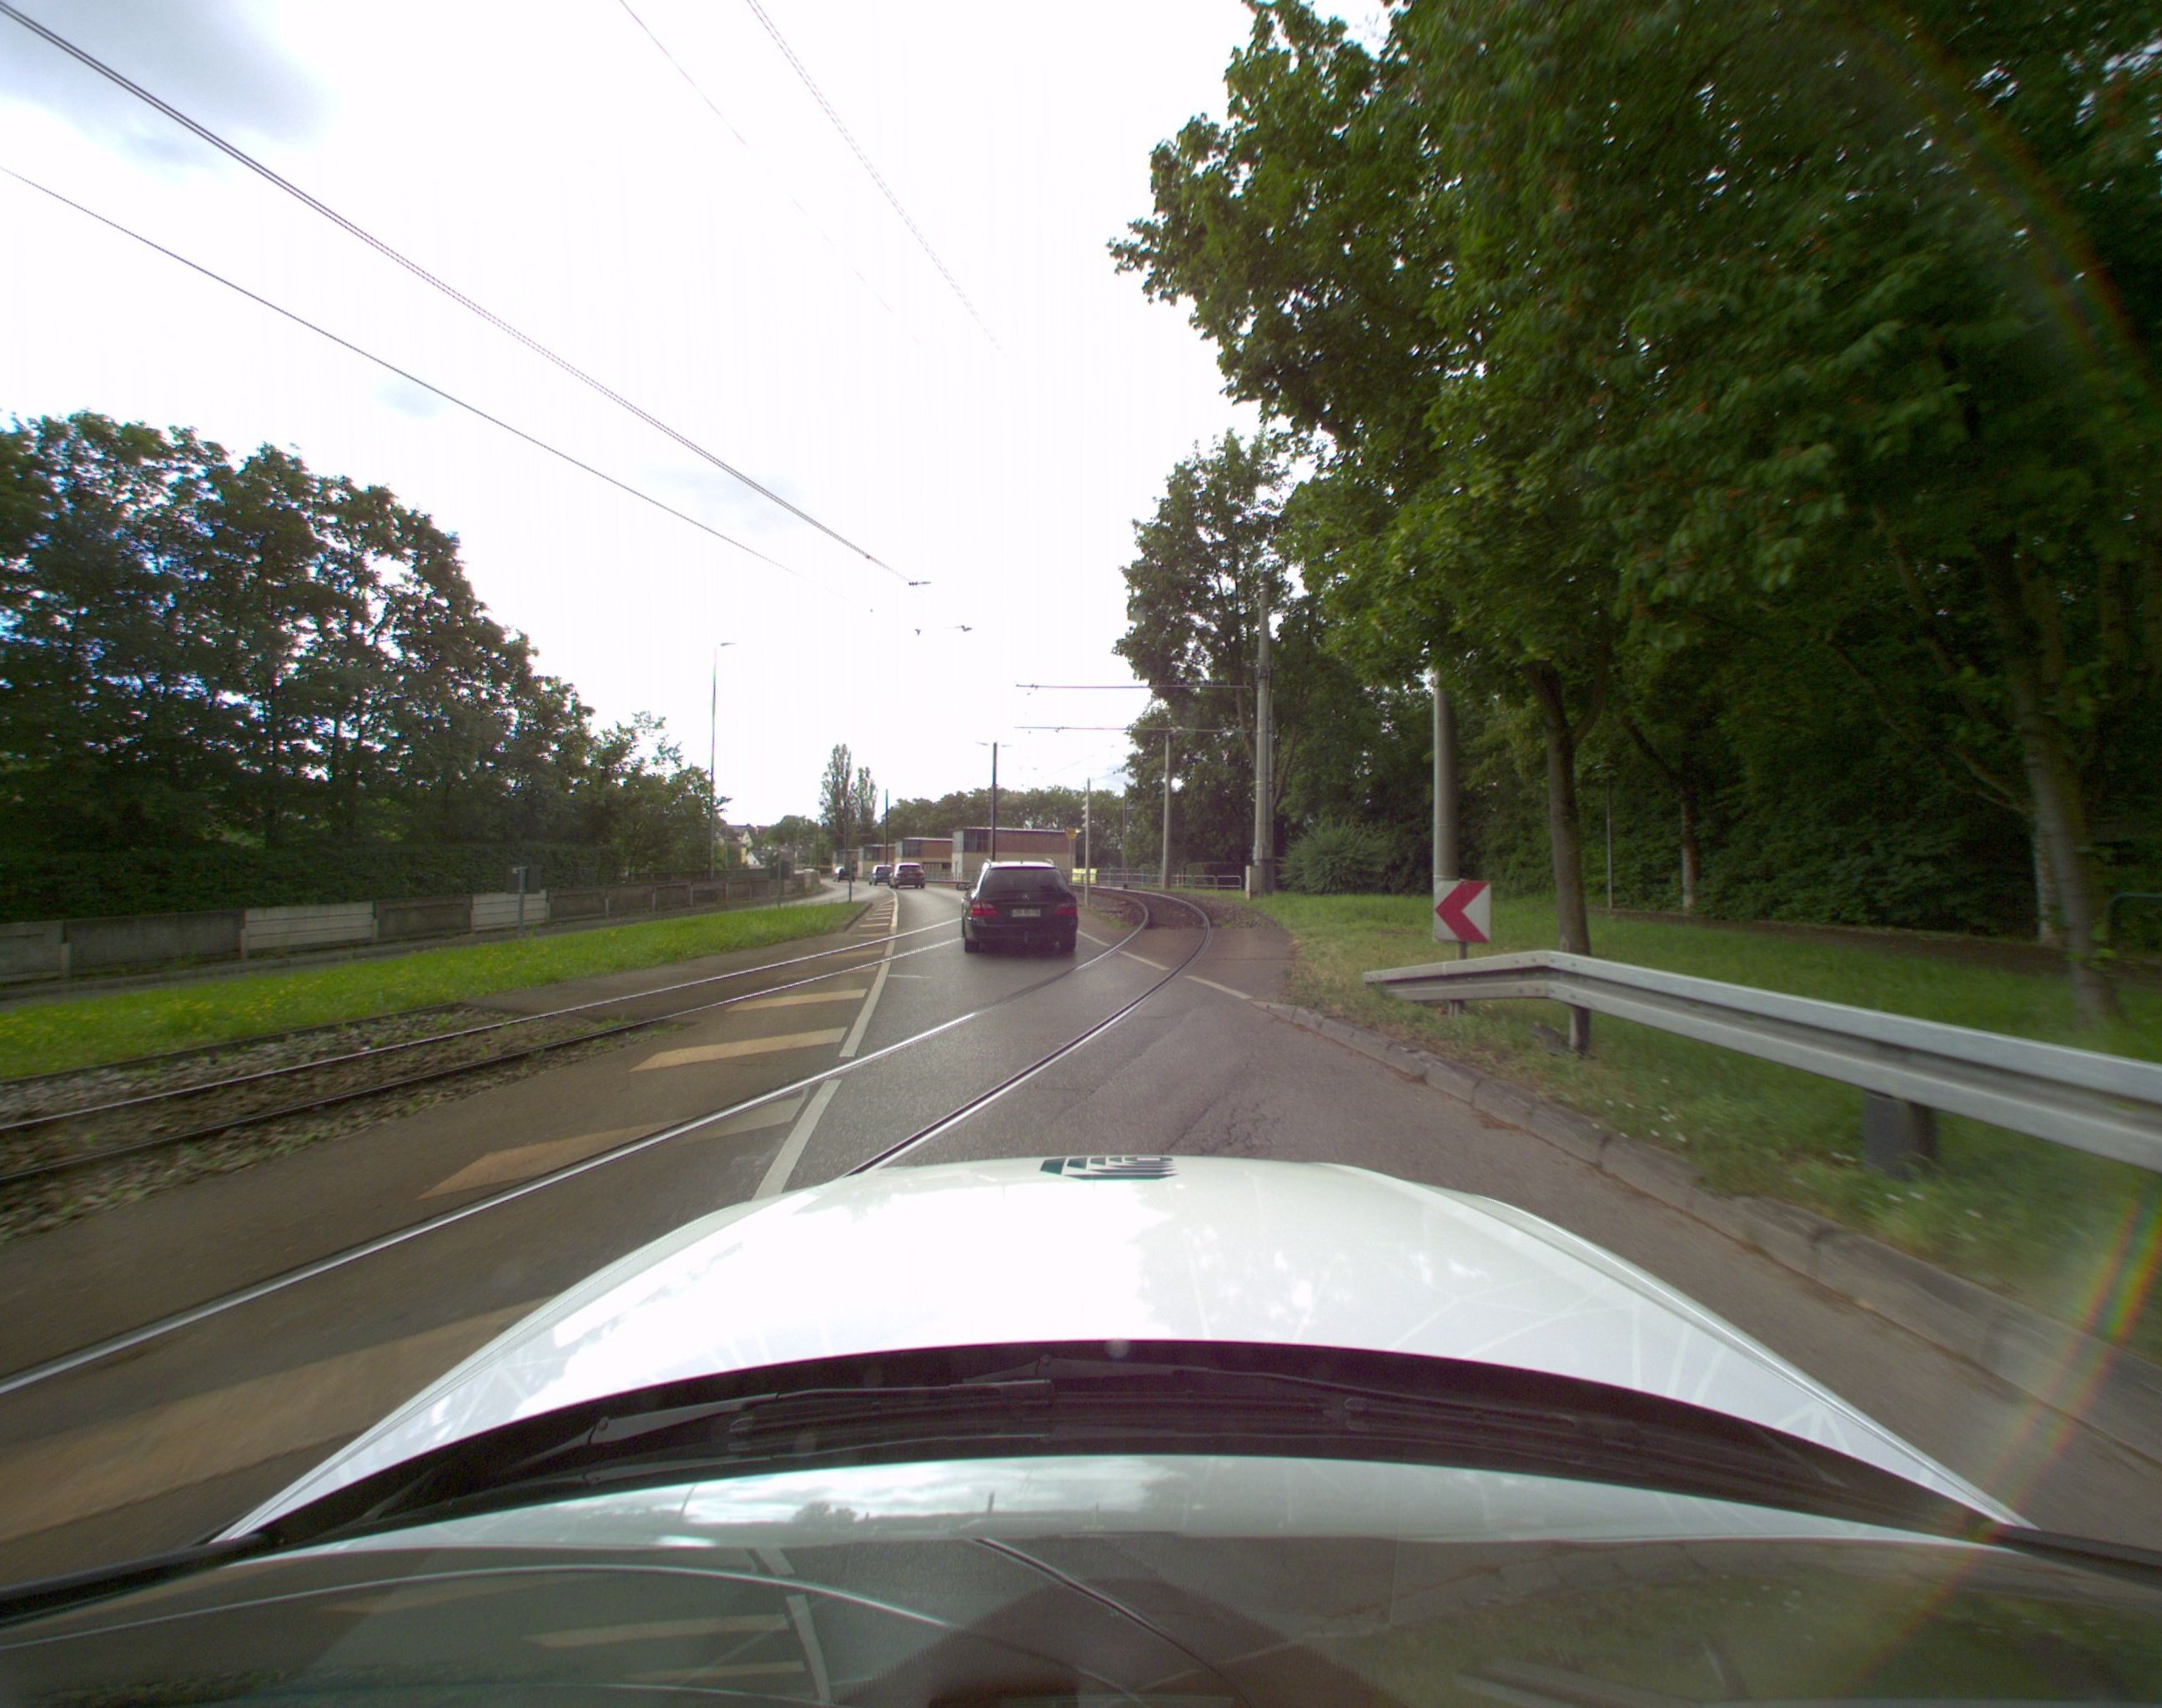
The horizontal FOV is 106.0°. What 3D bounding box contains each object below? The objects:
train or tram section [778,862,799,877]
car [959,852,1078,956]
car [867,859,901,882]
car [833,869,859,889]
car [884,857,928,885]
[{"bbox_3d":[-72.691,3.849,202.266,2.898,3.509,18.503,-1,-1,-26],"label":"train or tram section"},{"bbox_3d":[-1.104,0.747,14.283,1.756,1.516,4.434,-1,0,-5],"label":"car"},{"bbox_3d":[-14.831,1.197,61.141,2.000,1.564,4.964,-2,1,-19],"label":"car"},{"bbox_3d":[-22.414,2.347,77.684,2.001,1.672,4.509,-2,0,-21],"label":"car"},{"bbox_3d":[-10.601,1.008,49.229,1.779,1.555,4.206,-1,-1,-24],"label":"car"}]
